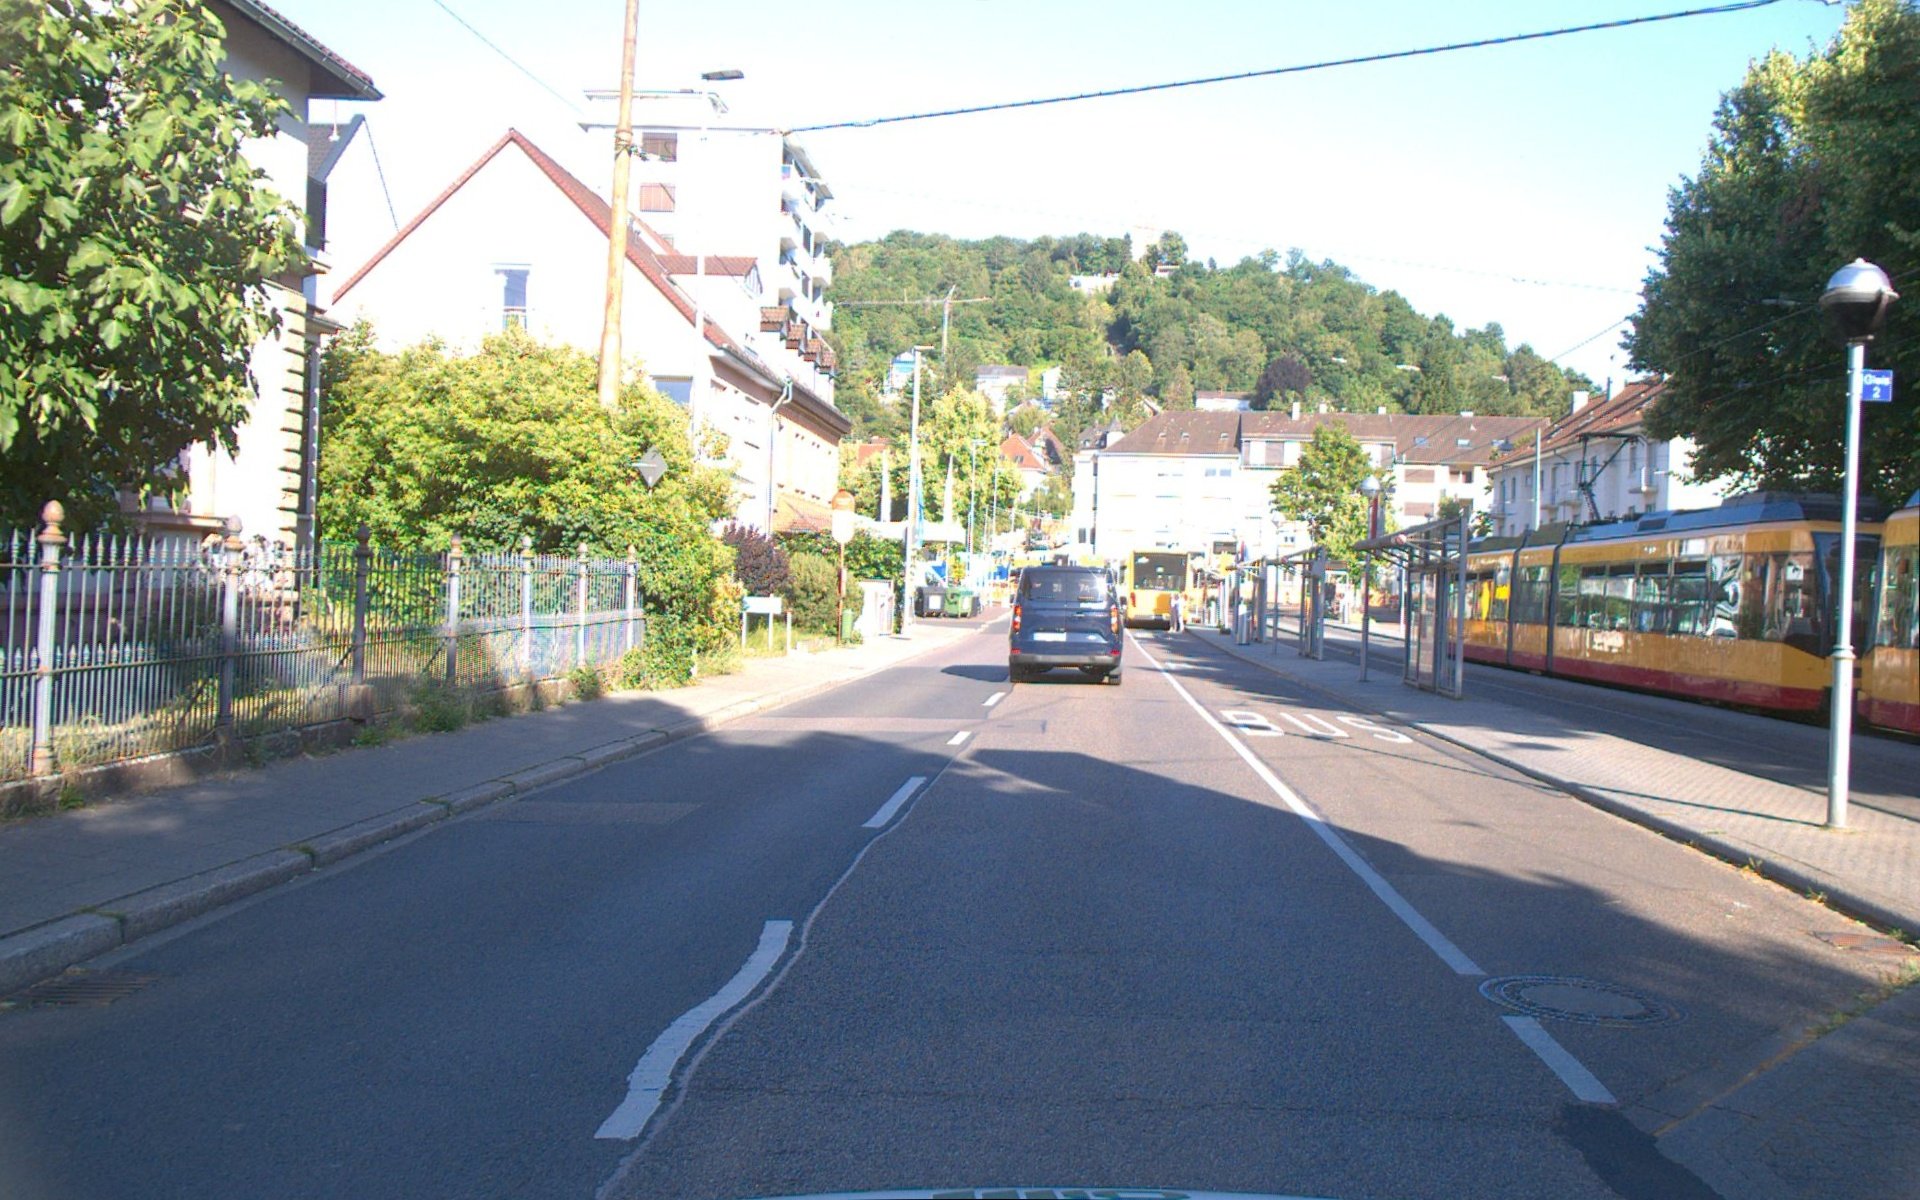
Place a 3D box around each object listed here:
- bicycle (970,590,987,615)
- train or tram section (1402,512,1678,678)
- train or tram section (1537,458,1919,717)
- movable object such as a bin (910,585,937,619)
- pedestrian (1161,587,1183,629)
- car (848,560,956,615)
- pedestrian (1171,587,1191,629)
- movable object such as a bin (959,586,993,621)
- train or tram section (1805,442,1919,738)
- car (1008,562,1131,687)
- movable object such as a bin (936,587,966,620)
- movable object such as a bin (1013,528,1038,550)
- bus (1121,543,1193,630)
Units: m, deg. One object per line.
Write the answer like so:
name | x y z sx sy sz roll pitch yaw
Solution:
bicycle | 0.959 0.125 85.021 0.709 1.198 1.779 2 1 -5
train or tram section | 14.826 -0.068 44.211 2.895 3.596 15.978 1 0 4
train or tram section | 13.722 -0.138 29.784 2.895 3.596 13.471 1 0 4
movable object such as a bin | -1.695 0.093 77.327 1.193 1.508 0.704 1 4 0
pedestrian | 8.537 0.316 66.576 0.539 1.641 0.629 1 0 -33
car | -2.914 -0.643 82.776 4.975 2.512 2.099 2 1 -17
pedestrian | 8.859 0.319 66.194 0.539 1.641 0.543 1 0 -33
movable object such as a bin | 0.772 0.162 78.588 1.036 1.508 1.309 4 4 33
train or tram section | 12.471 -0.019 14.394 2.895 3.481 15.948 1 1 3
car | 1.995 0.391 29.793 2.018 2.049 5.003 0 0 4
movable object such as a bin | -0.416 0.164 77.695 1.202 1.508 0.699 0 4 -24
movable object such as a bin | 8.342 -7.774 210.500 2.144 2.737 4.003 2 1 16
bus | 8.634 -0.658 73.711 2.632 3.475 12.026 2 1 5
